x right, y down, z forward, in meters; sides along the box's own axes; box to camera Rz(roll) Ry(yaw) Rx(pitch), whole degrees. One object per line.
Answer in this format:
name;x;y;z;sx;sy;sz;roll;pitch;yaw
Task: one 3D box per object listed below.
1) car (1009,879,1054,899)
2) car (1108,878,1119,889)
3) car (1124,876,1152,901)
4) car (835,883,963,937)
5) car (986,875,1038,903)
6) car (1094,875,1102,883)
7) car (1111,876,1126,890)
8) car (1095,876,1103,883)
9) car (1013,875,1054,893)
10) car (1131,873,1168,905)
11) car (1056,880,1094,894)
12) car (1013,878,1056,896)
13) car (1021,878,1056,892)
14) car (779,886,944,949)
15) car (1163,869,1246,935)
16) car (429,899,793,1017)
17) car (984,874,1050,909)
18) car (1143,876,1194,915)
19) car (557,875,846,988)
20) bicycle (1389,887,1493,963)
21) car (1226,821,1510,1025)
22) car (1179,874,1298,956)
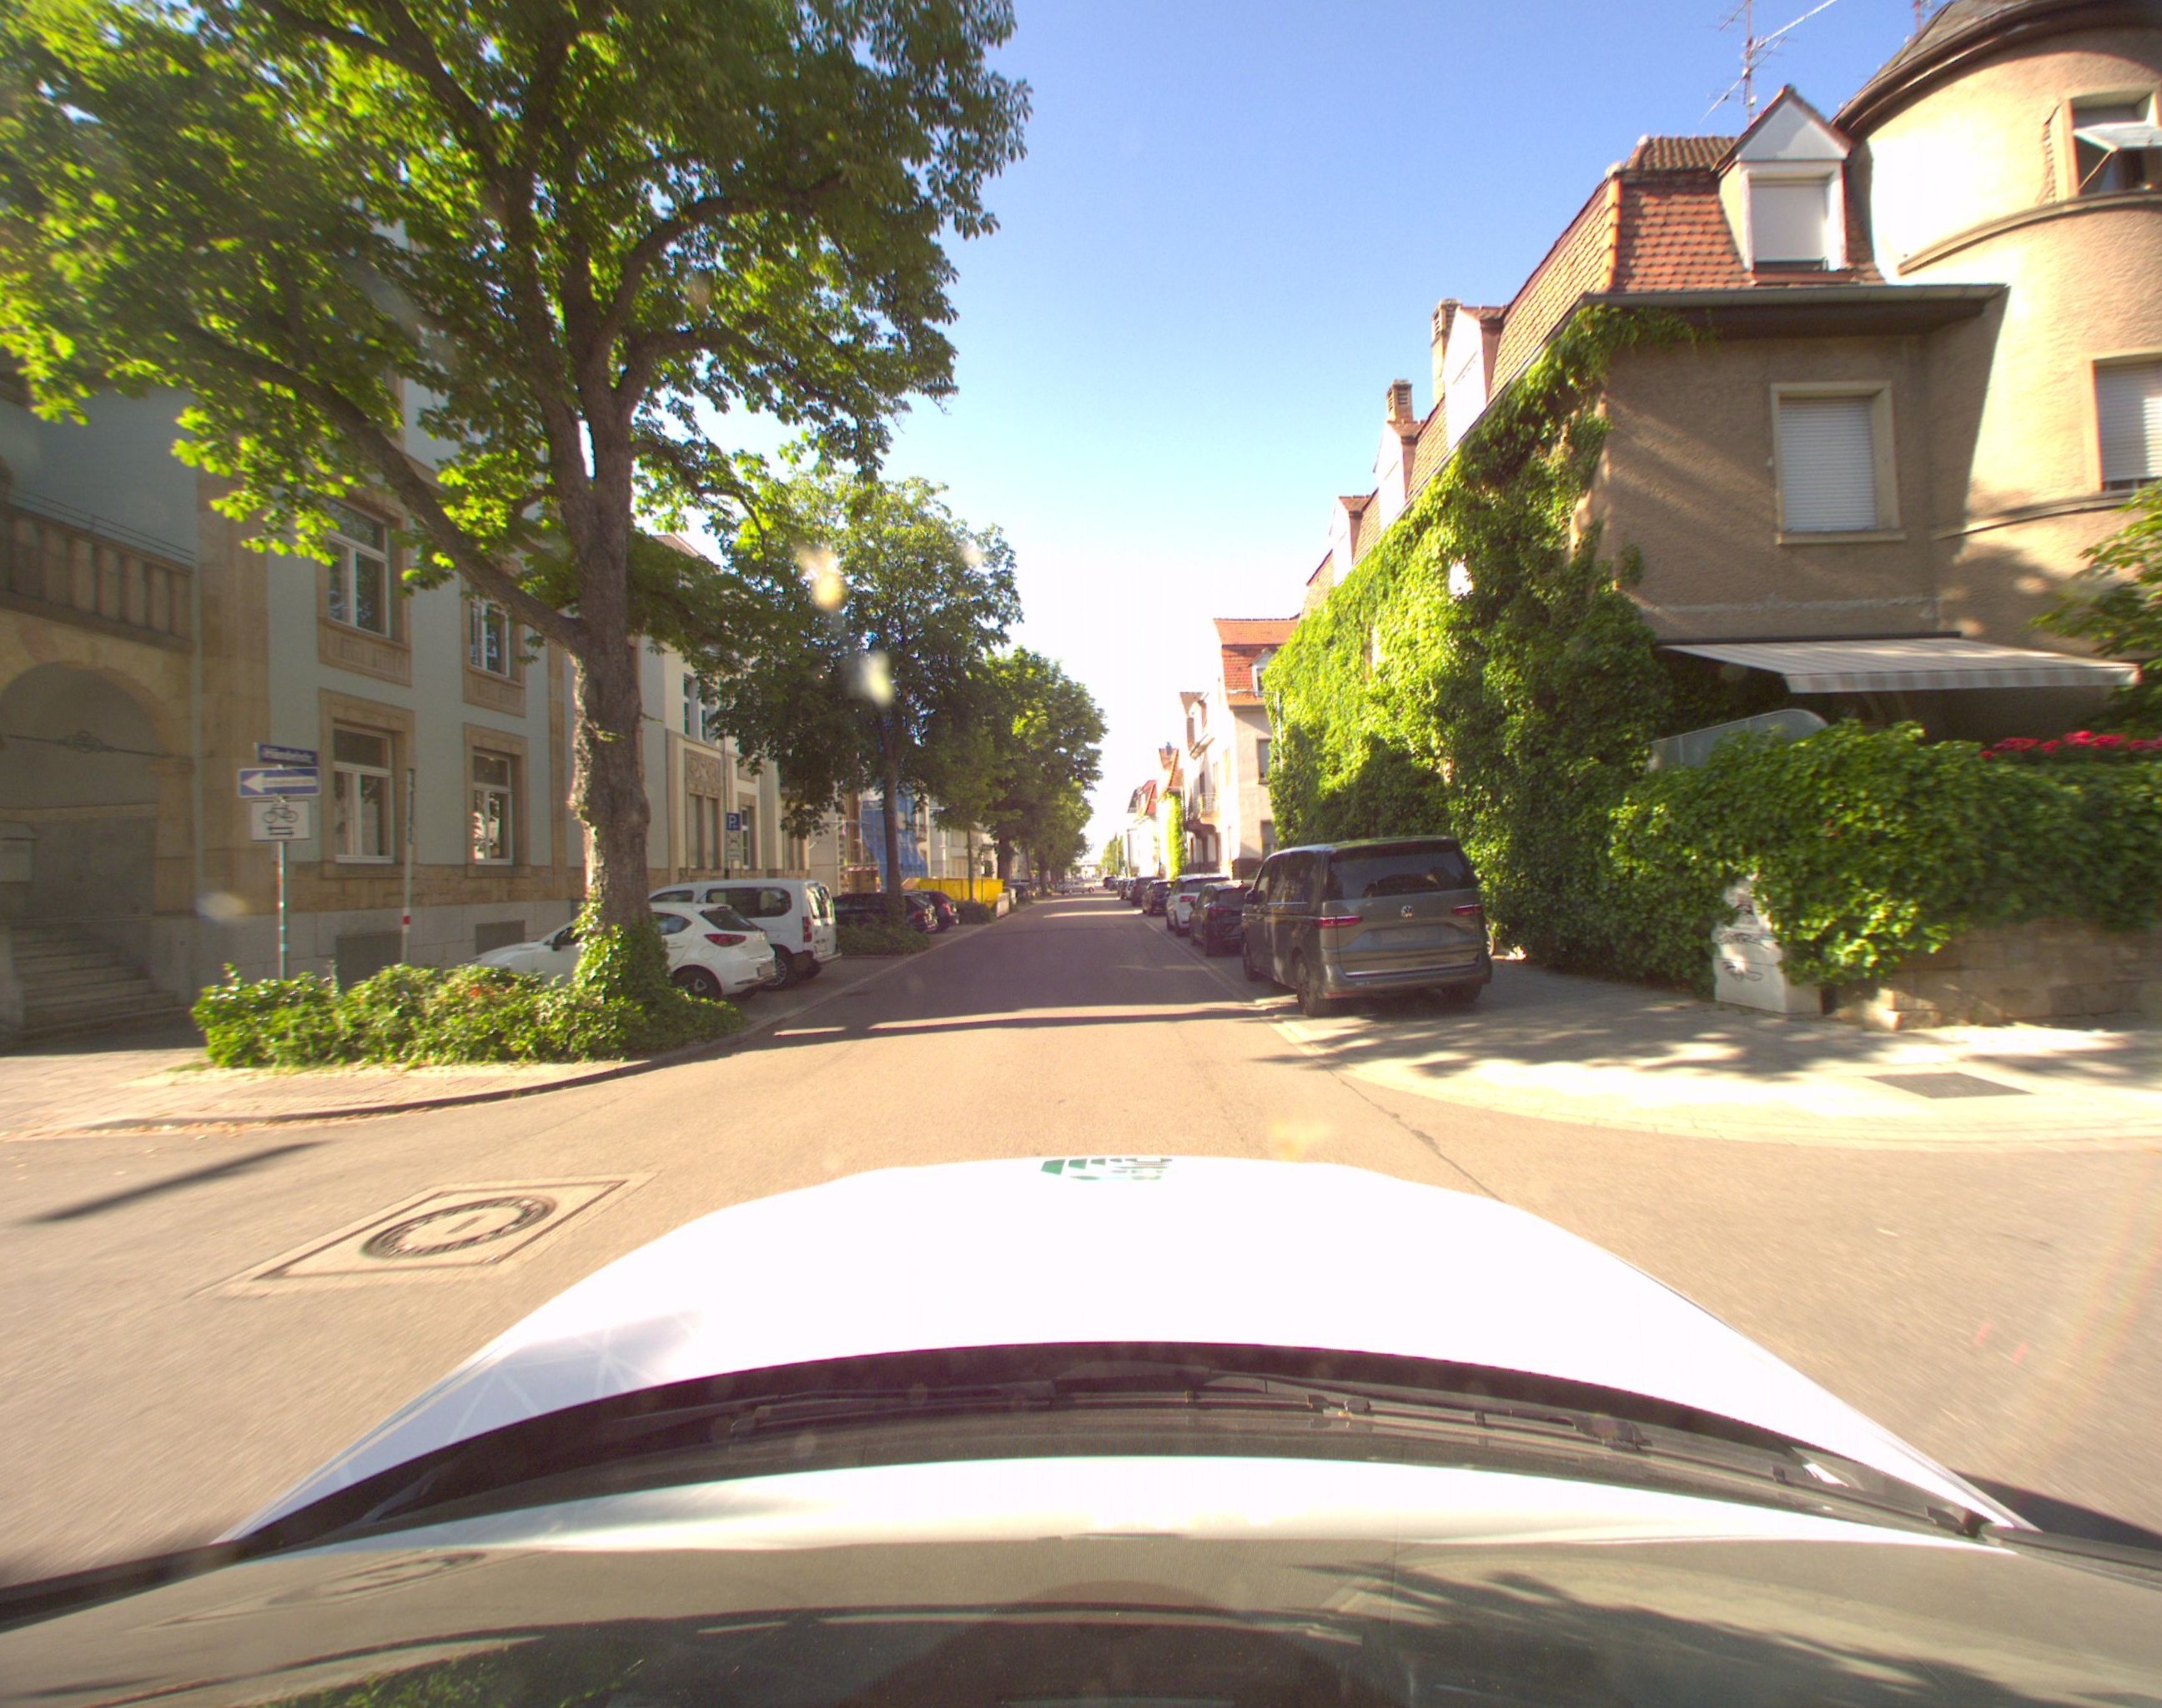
car;-4.572;3.244;75.789;3.990;1.735;1.895;0;-1;2
car;5.094;4.655;128.208;1.764;1.631;3.867;-2;-2;2
car;4.027;2.390;57.528;1.764;1.631;3.867;-2;-2;2
car;-6.042;1.844;27.382;3.984;1.552;1.832;-2;-1;-8
car;-5.471;2.792;64.690;3.984;2.014;1.994;-2;-2;-8
car;3.987;5.866;191.175;1.764;1.631;3.867;-2;-2;2
car;4.562;3.529;99.610;1.764;1.631;3.867;-2;-2;2
car;4.373;6.109;198.988;1.764;1.631;3.867;-2;-2;2
car;-4.944;3.124;84.969;3.990;1.841;2.001;0;-1;2
car;3.753;1.920;45.136;1.764;1.631;3.867;-2;-2;2
car;-0.686;3.695;91.560;4.013;1.409;1.685;-1;-2;-31
car;-4.449;3.180;78.267;3.990;1.735;1.895;0;-1;2
car;-4.852;3.572;93.200;3.731;1.576;1.827;0;-1;2
car;-5.993;1.729;22.565;3.971;1.469;1.864;-2;-1;2
car;3.355;1.280;22.736;1.783;1.618;3.867;-2;-2;2
car;-6.371;1.386;11.450;3.978;1.464;1.795;0;-3;-4
car;-4.095;2.382;51.671;3.984;2.014;1.994;-2;-2;-8
car;3.577;1.678;33.849;1.764;1.455;3.867;-2;-2;2
car;-6.213;1.245;13.751;3.978;1.761;1.795;0;-2;-4
bicycle;5.620;1.069;12.887;0.586;1.024;2.370;-3;-2;1
car;3.282;0.750;10.494;1.898;1.870;4.672;-5;-2;0
car;3.185;1.197;17.197;1.685;1.398;3.805;-5;-2;0
